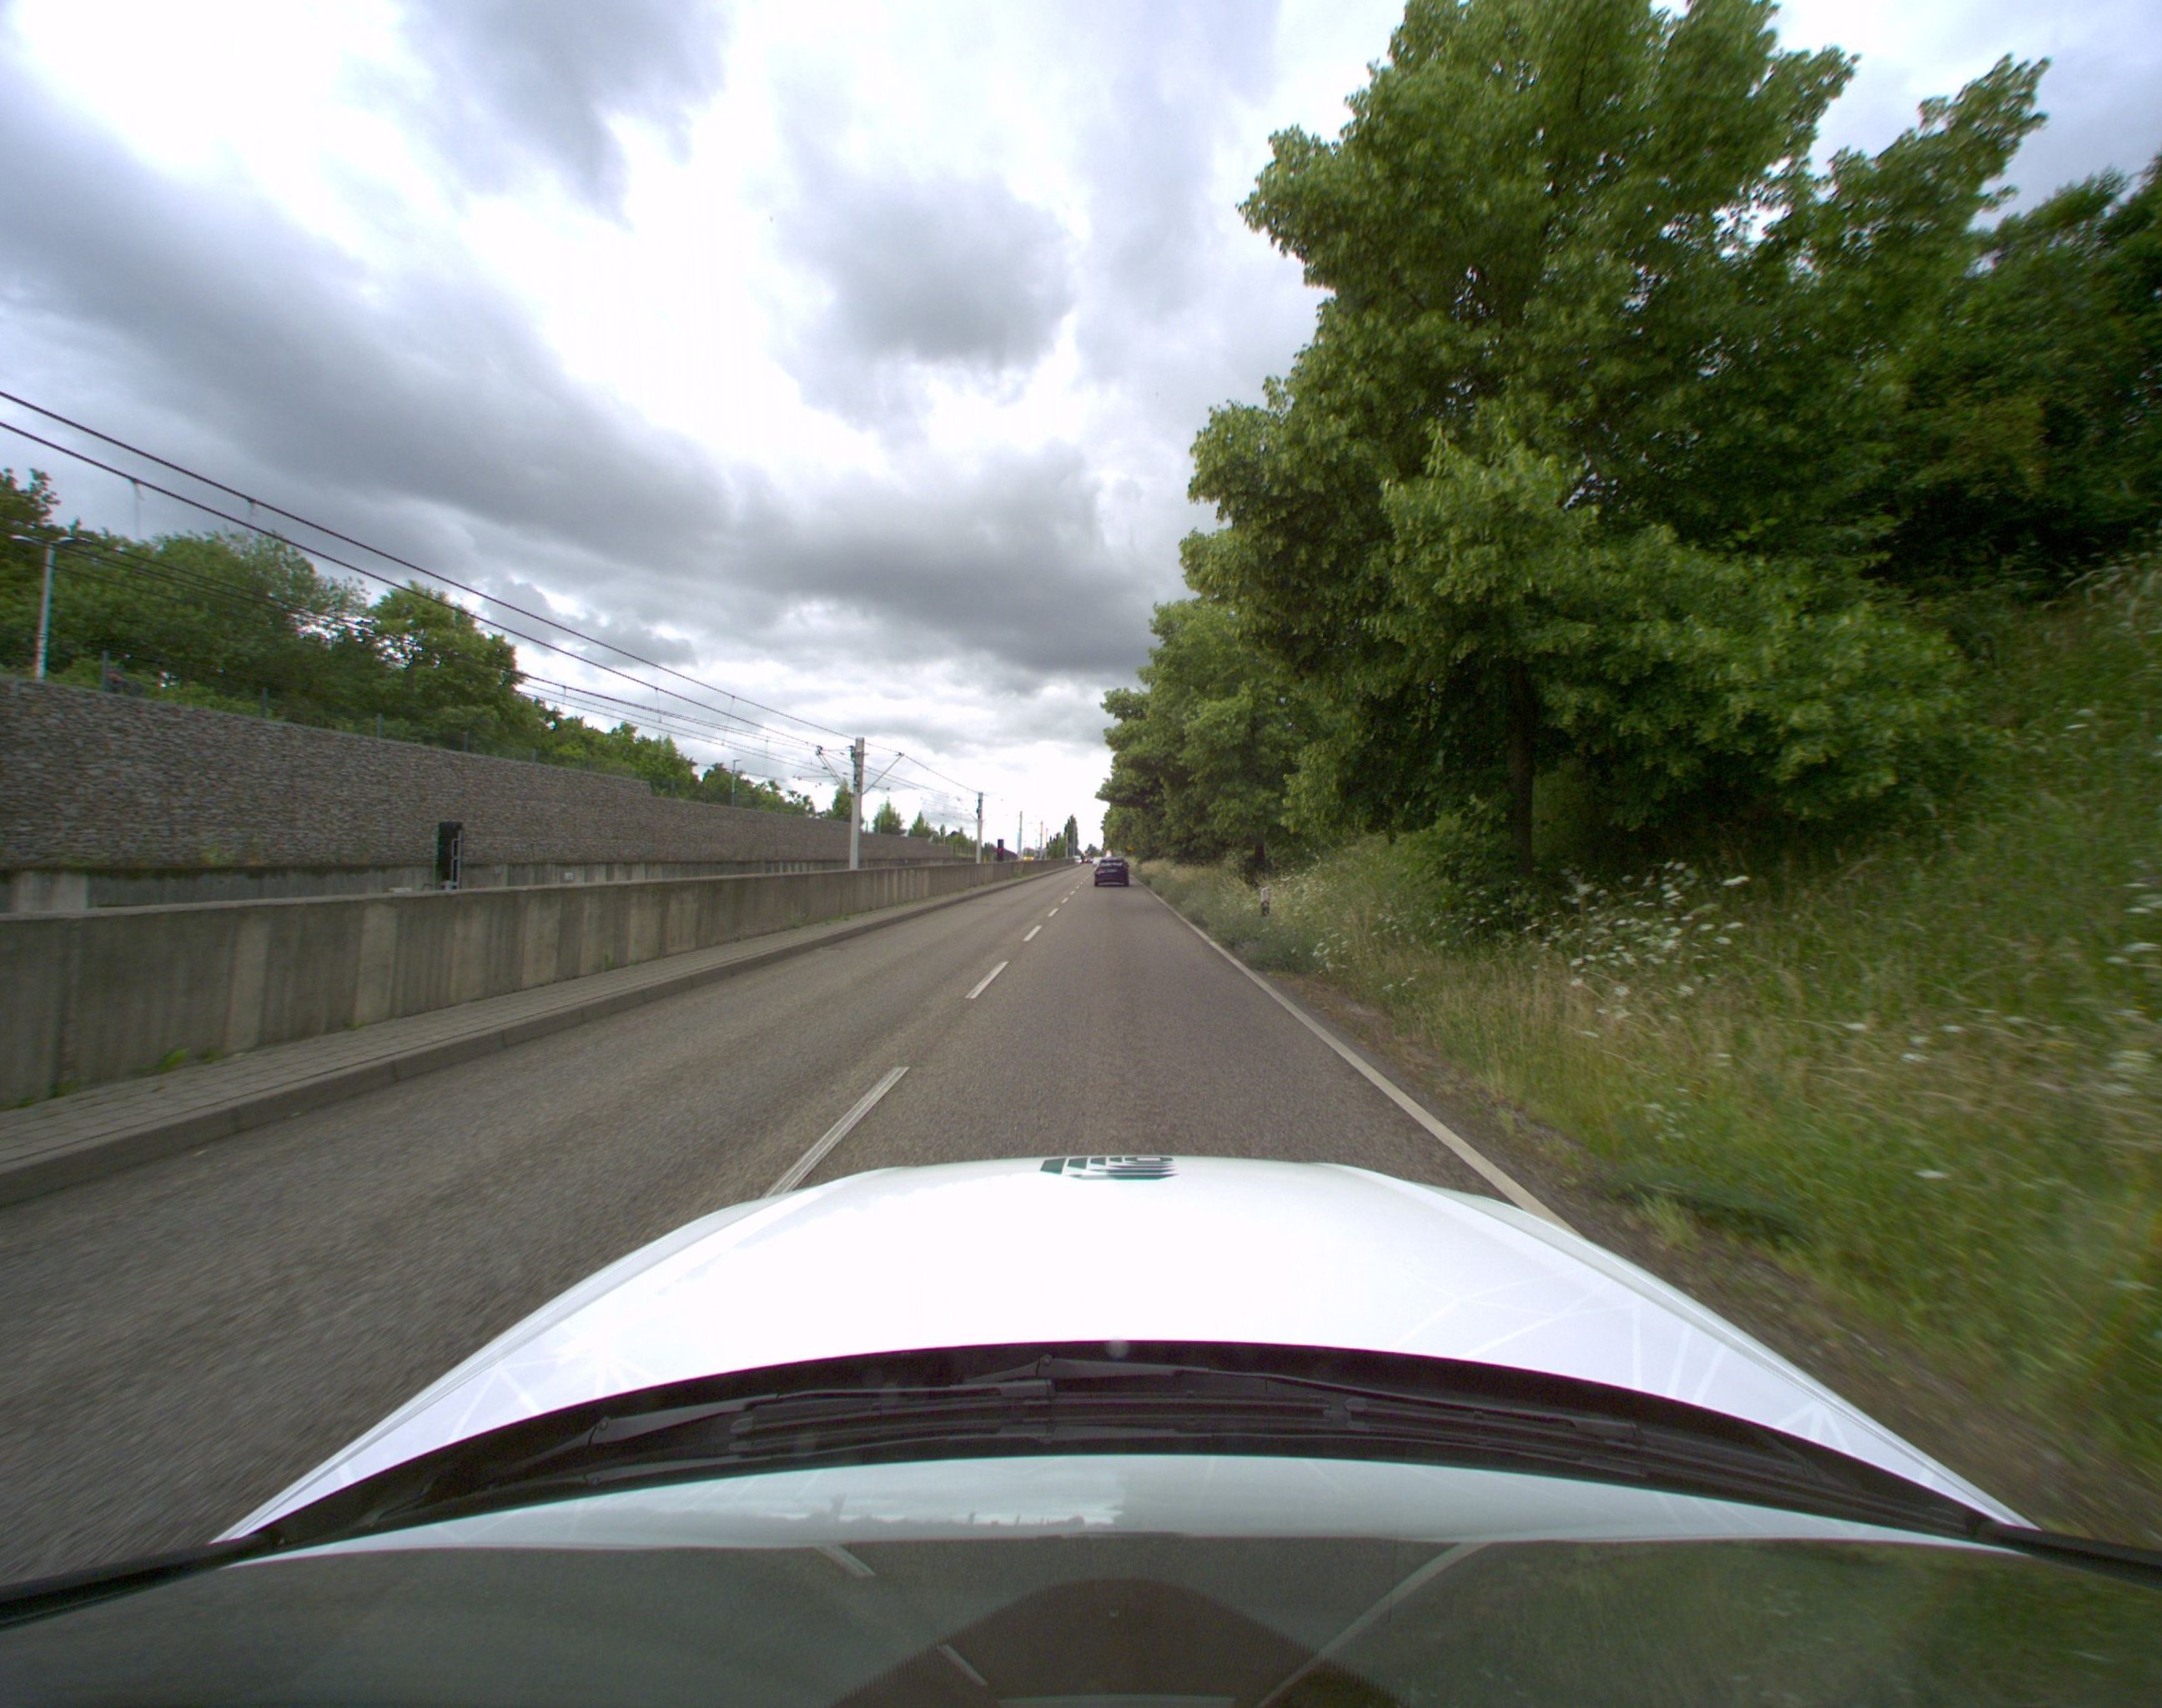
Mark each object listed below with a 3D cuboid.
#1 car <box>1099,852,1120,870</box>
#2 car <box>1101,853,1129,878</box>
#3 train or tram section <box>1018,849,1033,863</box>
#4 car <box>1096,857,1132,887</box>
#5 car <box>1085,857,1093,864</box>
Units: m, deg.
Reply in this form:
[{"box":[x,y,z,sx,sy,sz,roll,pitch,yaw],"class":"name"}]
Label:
[{"box":[2.821,0.693,81.187,1.986,1.740,4.001,0,-1,2],"class":"car"},{"box":[2.470,0.790,59.287,1.986,1.753,4.002,0,0,2],"class":"car"},{"box":[-13.711,0.508,198.456,2.808,3.117,18.870,0,-1,-6],"class":"train or tram section"},{"box":[1.693,0.877,41.826,1.774,1.468,4.002,0,0,2],"class":"car"},{"box":[1.871,1.360,180.428,1.656,1.545,3.953,-1,0,1],"class":"car"}]
